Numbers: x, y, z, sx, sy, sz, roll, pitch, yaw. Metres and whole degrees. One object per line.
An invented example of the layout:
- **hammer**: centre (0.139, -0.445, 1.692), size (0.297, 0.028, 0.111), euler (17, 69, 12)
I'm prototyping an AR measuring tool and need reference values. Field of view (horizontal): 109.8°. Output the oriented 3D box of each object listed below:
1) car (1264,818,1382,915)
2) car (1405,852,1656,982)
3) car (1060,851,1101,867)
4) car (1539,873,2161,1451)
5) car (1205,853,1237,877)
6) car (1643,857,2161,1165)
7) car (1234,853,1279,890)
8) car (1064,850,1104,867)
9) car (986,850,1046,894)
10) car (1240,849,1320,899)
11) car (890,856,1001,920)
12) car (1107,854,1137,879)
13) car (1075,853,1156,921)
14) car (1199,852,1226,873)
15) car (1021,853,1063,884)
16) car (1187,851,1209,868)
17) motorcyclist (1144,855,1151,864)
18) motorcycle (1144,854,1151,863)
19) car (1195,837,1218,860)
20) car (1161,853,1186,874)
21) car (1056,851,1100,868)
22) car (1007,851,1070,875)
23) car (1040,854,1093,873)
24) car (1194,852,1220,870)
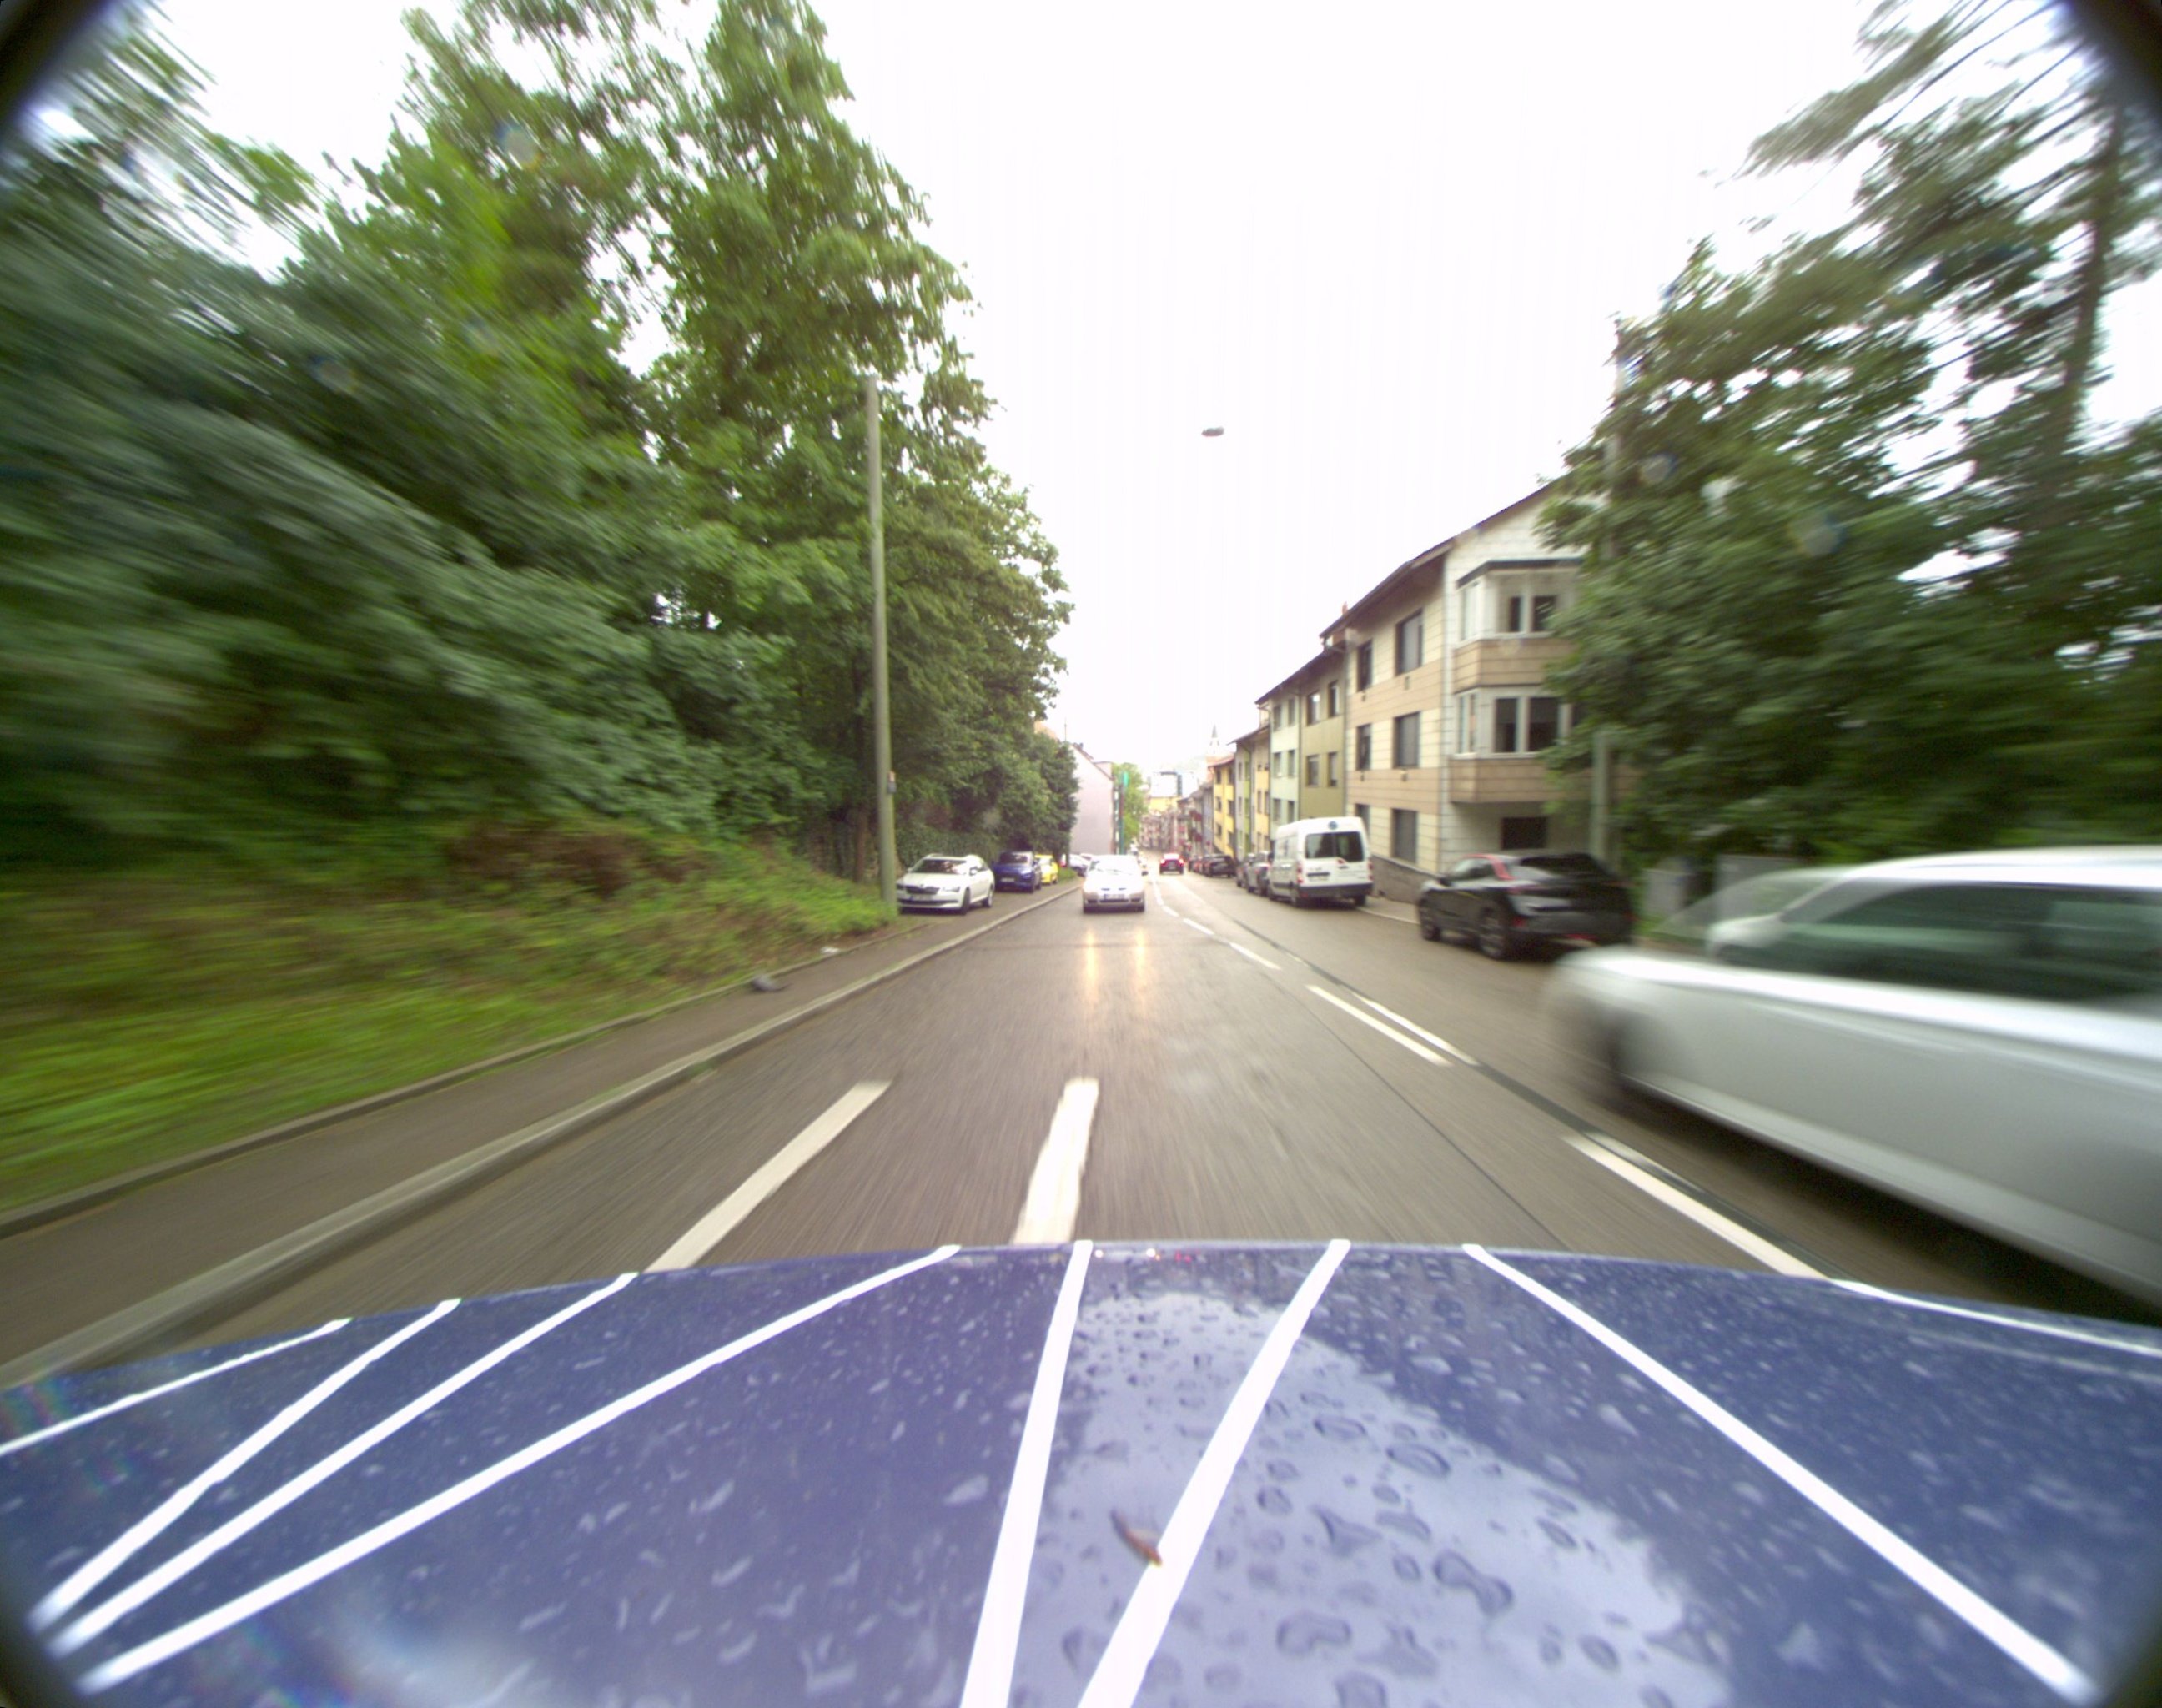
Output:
- **car**: centre (7.105, 0.314, 22.972), size (2.121, 2.536, 5.445), euler (1, 0, 4)
- **car**: centre (6.611, 0.801, 11.781), size (1.648, 1.595, 4.187), euler (1, 1, 5)
- **car**: centre (-0.066, 0.525, 81.428), size (4.192, 1.565, 1.804), euler (2, 1, 4)
- **car**: centre (3.709, 0.855, 2.793), size (1.729, 1.427, 3.912), euler (1, 0, 1)
- **car**: centre (9.687, 0.707, 52.684), size (1.696, 1.584, 4.001), euler (0, 0, 4)
- **car**: centre (6.591, 0.820, 5.898), size (1.659, 1.560, 4.150), euler (0, 0, 5)
- **car**: centre (8.099, 0.767, 35.370), size (1.414, 1.605, 4.384), euler (1, 0, 5)
- **car**: centre (0.373, 0.491, 83.891), size (4.192, 1.635, 1.804), euler (2, 2, 4)
- **car**: centre (-2.583, 0.677, 31.244), size (1.769, 1.614, 4.680), euler (0, 1, 3)
- **car**: centre (7.529, 0.689, 29.255), size (1.970, 1.729, 4.886), euler (1, 0, 3)
- **car**: centre (-3.494, 0.820, 20.536), size (1.742, 1.469, 4.741), euler (1, 0, 5)
- **car**: centre (2.899, 0.830, 53.023), size (1.998, 1.603, 3.968), euler (-1, 0, 4)
- **car**: centre (1.045, 0.823, 20.817), size (1.825, 1.603, 4.190), euler (-2, 0, 7)
- **car**: centre (10.420, 0.676, 60.474), size (1.687, 1.584, 4.056), euler (0, 0, 5)
- **car**: centre (-1.943, 0.707, 38.876), size (1.567, 1.458, 3.900), euler (2, 1, 5)
- **car**: centre (11.832, 0.520, 76.954), size (1.908, 1.647, 4.329), euler (0, 0, 5)
- **motorcyclist**: centre (8.509, 0.722, 97.042), size (0.778, 1.120, 0.549), euler (-3, 1, 7)
- **motorcycle**: centre (8.509, 0.575, 97.015), size (0.778, 1.120, 2.300), euler (-3, 0, 7)
- **car**: centre (14.441, -0.615, 87.717), size (2.121, 2.536, 5.445), euler (1, 0, 4)
- **car**: centre (7.578, 0.754, 62.580), size (1.940, 1.615, 4.501), euler (-1, 0, 5)
- **car**: centre (-0.277, 0.571, 76.536), size (4.192, 1.565, 1.804), euler (2, 1, 4)
- **car**: centre (-3.015, 0.628, 54.325), size (4.192, 1.584, 1.804), euler (-2, 0, 4)
- **car**: centre (-1.176, 0.758, 62.097), size (4.192, 1.408, 1.804), euler (1, 1, 4)
- **car**: centre (11.123, 0.589, 67.132), size (1.908, 1.528, 4.001), euler (0, 0, 5)
